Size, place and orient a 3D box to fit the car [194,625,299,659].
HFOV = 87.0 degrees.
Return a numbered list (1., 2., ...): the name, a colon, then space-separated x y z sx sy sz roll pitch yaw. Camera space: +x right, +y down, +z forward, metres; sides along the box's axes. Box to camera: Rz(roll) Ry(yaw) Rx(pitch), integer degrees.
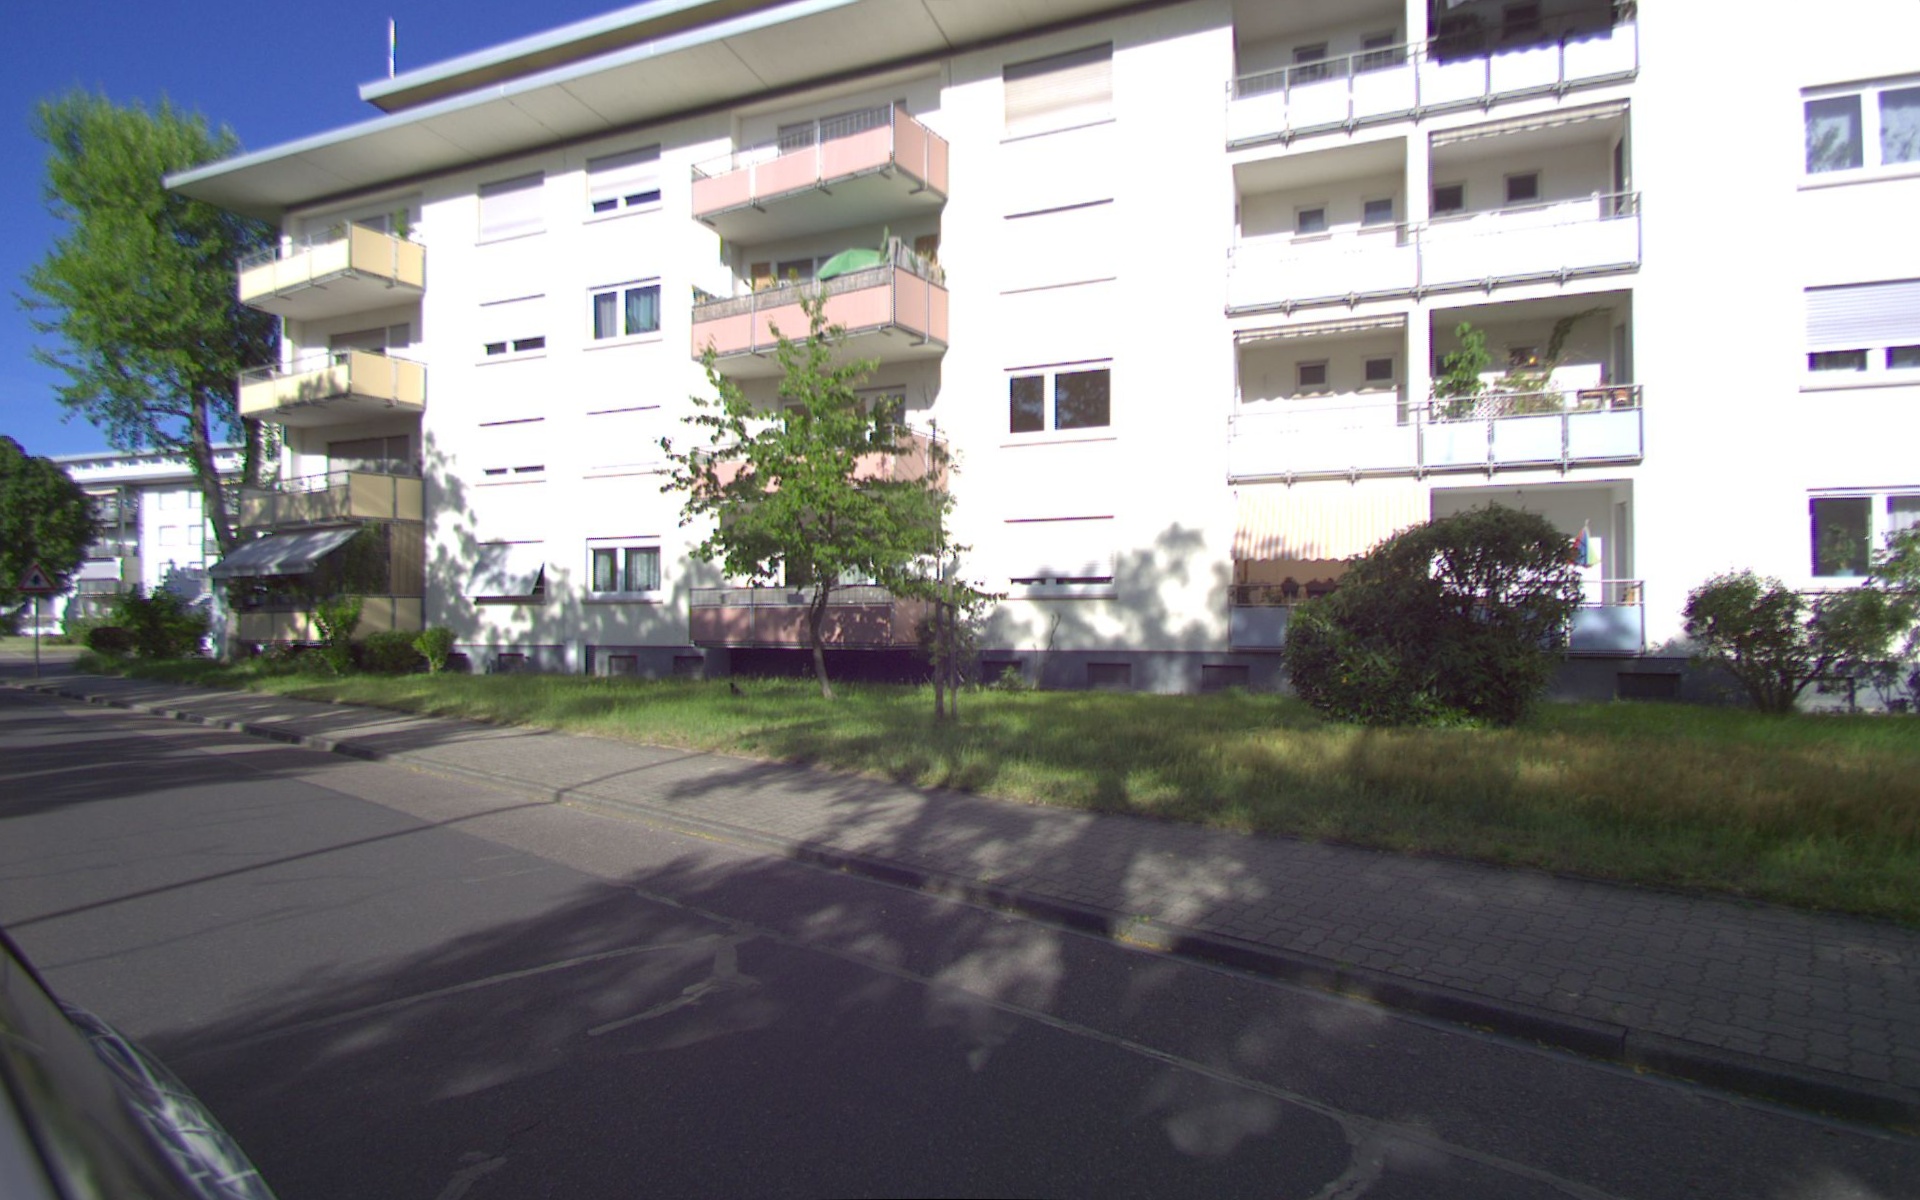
1. car: -31.926 1.837 45.345 3.674 1.436 1.534 1 -2 -44
